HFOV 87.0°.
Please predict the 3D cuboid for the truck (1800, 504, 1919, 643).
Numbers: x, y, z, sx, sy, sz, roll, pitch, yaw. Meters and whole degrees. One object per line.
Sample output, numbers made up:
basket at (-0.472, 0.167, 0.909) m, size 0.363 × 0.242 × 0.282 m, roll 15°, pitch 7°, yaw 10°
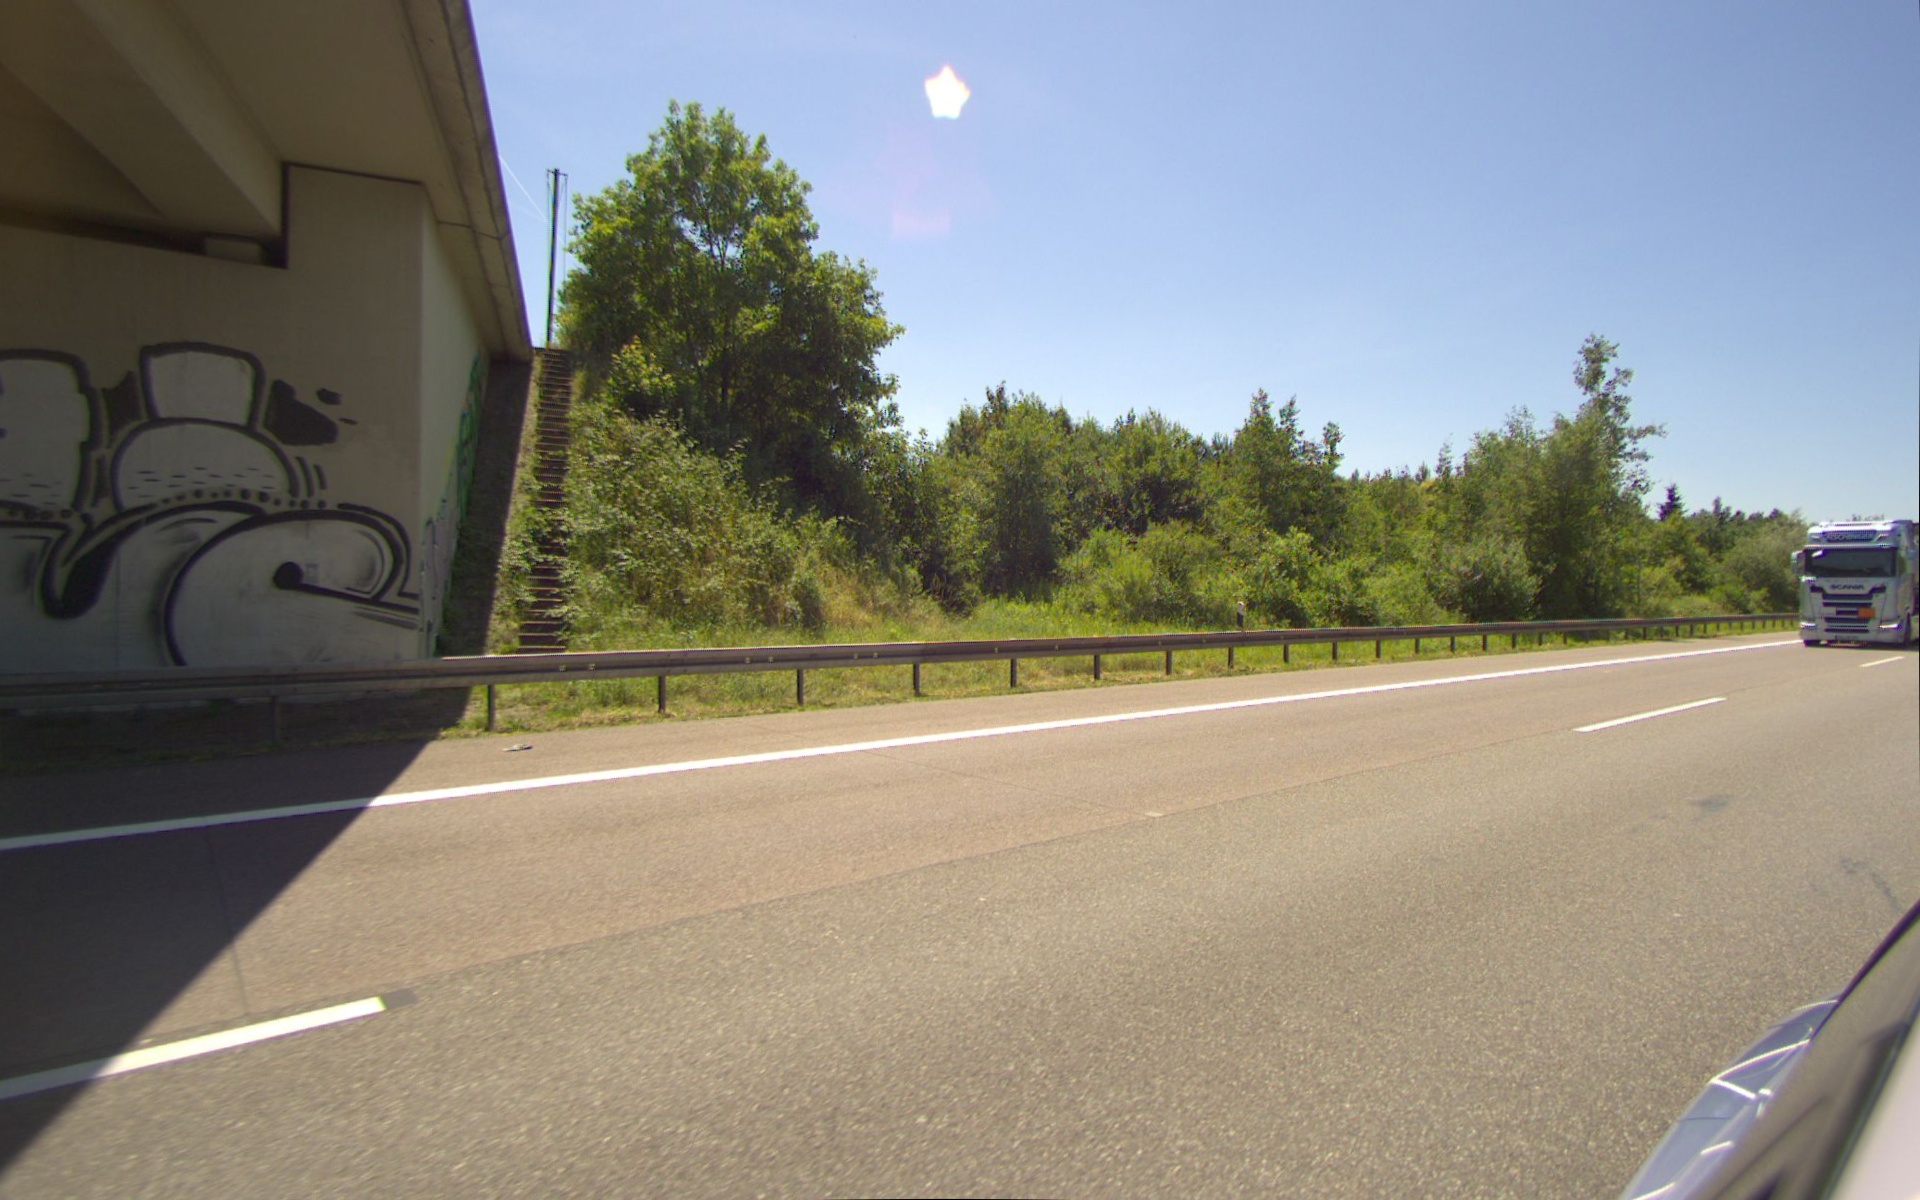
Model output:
truck at (32.305, -0.818, 34.969) m, size 13.119 × 4.097 × 2.803 m, roll -1°, pitch 0°, yaw -40°
